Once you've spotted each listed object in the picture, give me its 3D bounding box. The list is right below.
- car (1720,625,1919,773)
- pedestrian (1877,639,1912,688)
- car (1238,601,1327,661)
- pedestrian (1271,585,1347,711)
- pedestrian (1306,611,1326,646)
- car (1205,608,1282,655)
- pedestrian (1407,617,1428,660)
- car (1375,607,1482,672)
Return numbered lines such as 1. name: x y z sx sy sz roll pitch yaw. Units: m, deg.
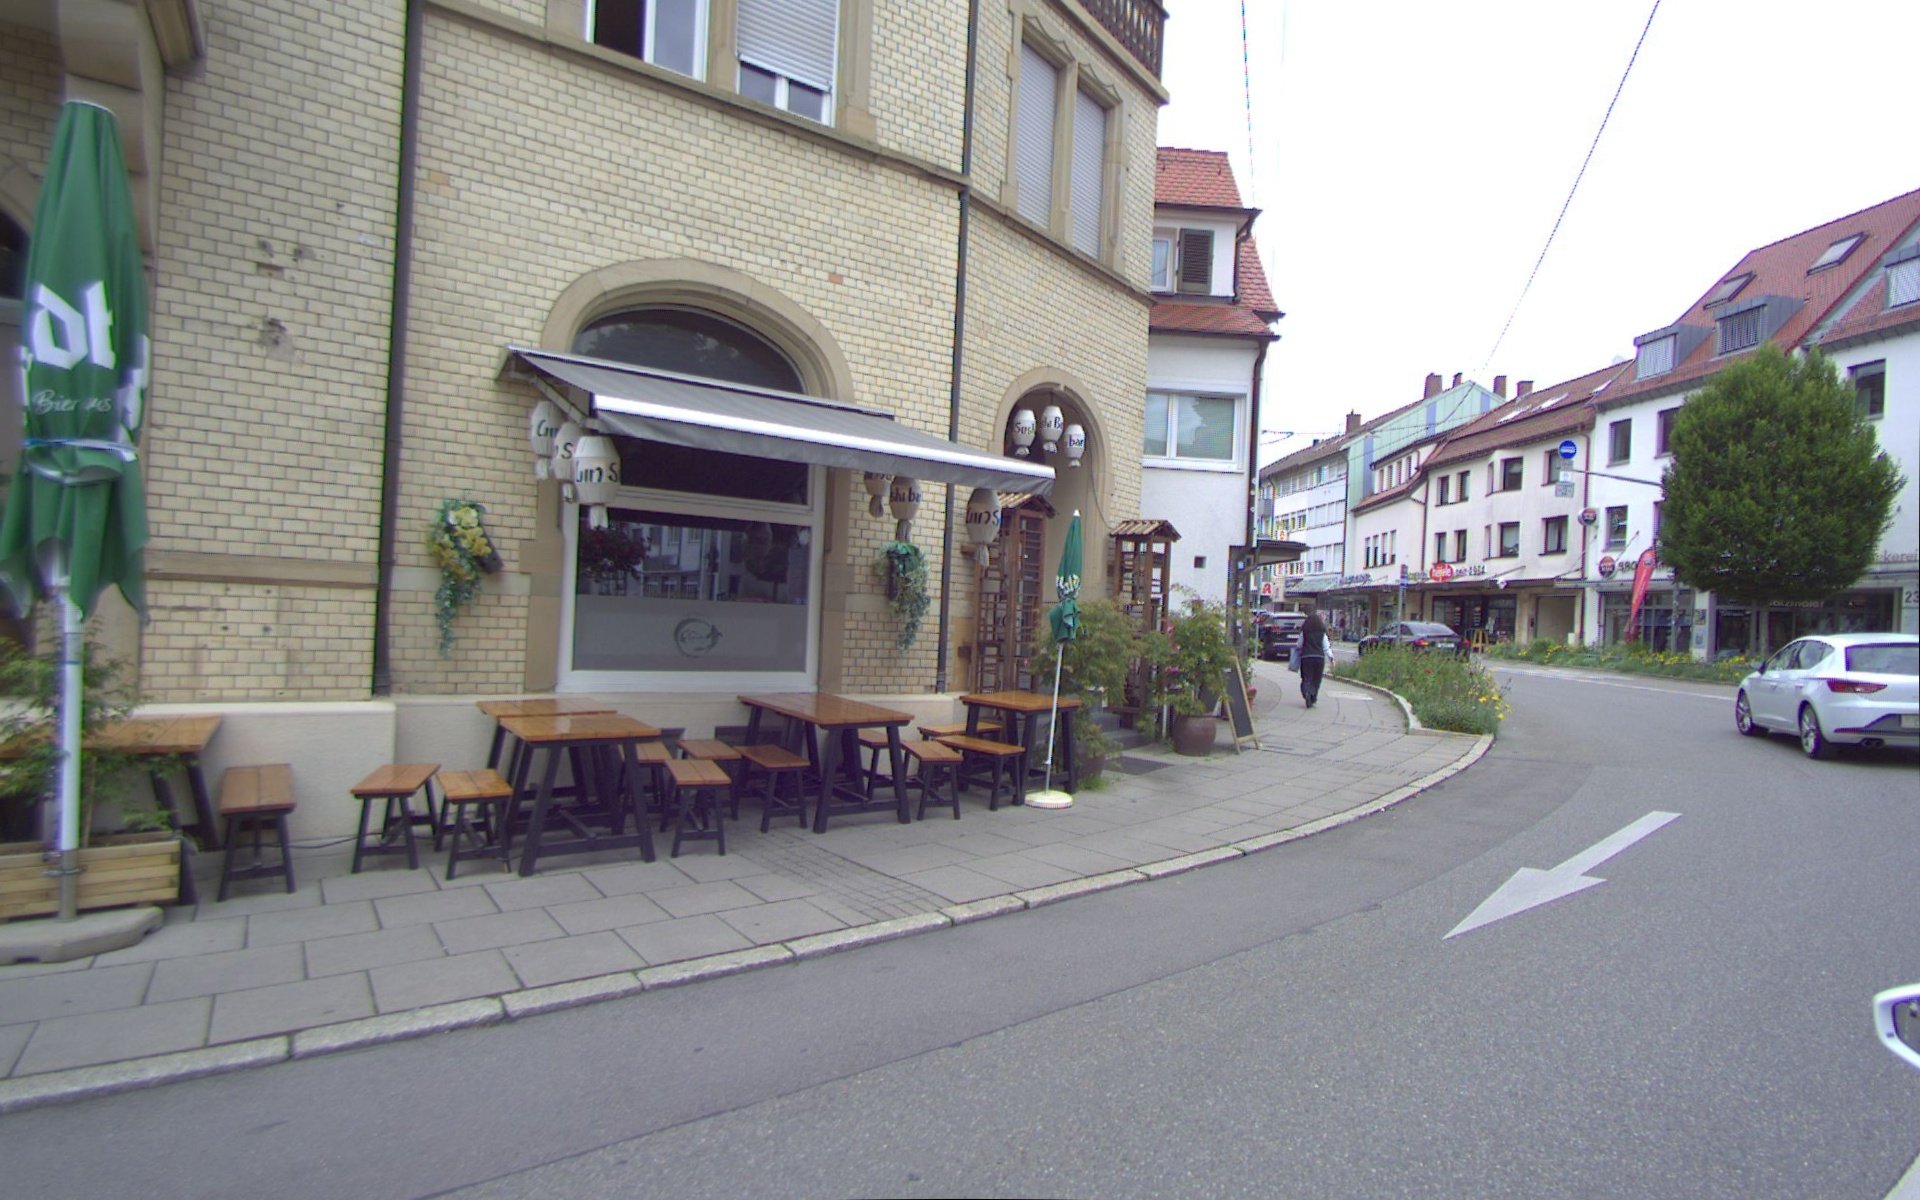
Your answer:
1. car: 11.141 1.119 12.499 1.814 1.453 3.996 1 1 25
2. pedestrian: 25.667 1.740 27.596 0.492 1.288 0.491 2 0 -8
3. car: 11.150 1.046 35.043 1.960 1.879 4.001 2 -1 3
4. pedestrian: 5.879 0.784 16.996 1.084 2.040 1.014 2 0 16
5. pedestrian: 21.356 1.689 60.345 1.009 2.040 0.896 2 0 15
6. car: 11.579 1.255 41.295 1.960 1.755 4.428 2 -1 1
7. pedestrian: 22.324 1.869 48.999 0.657 2.040 0.635 2 0 -4
8. car: 14.285 1.139 30.881 2.000 1.697 4.376 2 1 12
